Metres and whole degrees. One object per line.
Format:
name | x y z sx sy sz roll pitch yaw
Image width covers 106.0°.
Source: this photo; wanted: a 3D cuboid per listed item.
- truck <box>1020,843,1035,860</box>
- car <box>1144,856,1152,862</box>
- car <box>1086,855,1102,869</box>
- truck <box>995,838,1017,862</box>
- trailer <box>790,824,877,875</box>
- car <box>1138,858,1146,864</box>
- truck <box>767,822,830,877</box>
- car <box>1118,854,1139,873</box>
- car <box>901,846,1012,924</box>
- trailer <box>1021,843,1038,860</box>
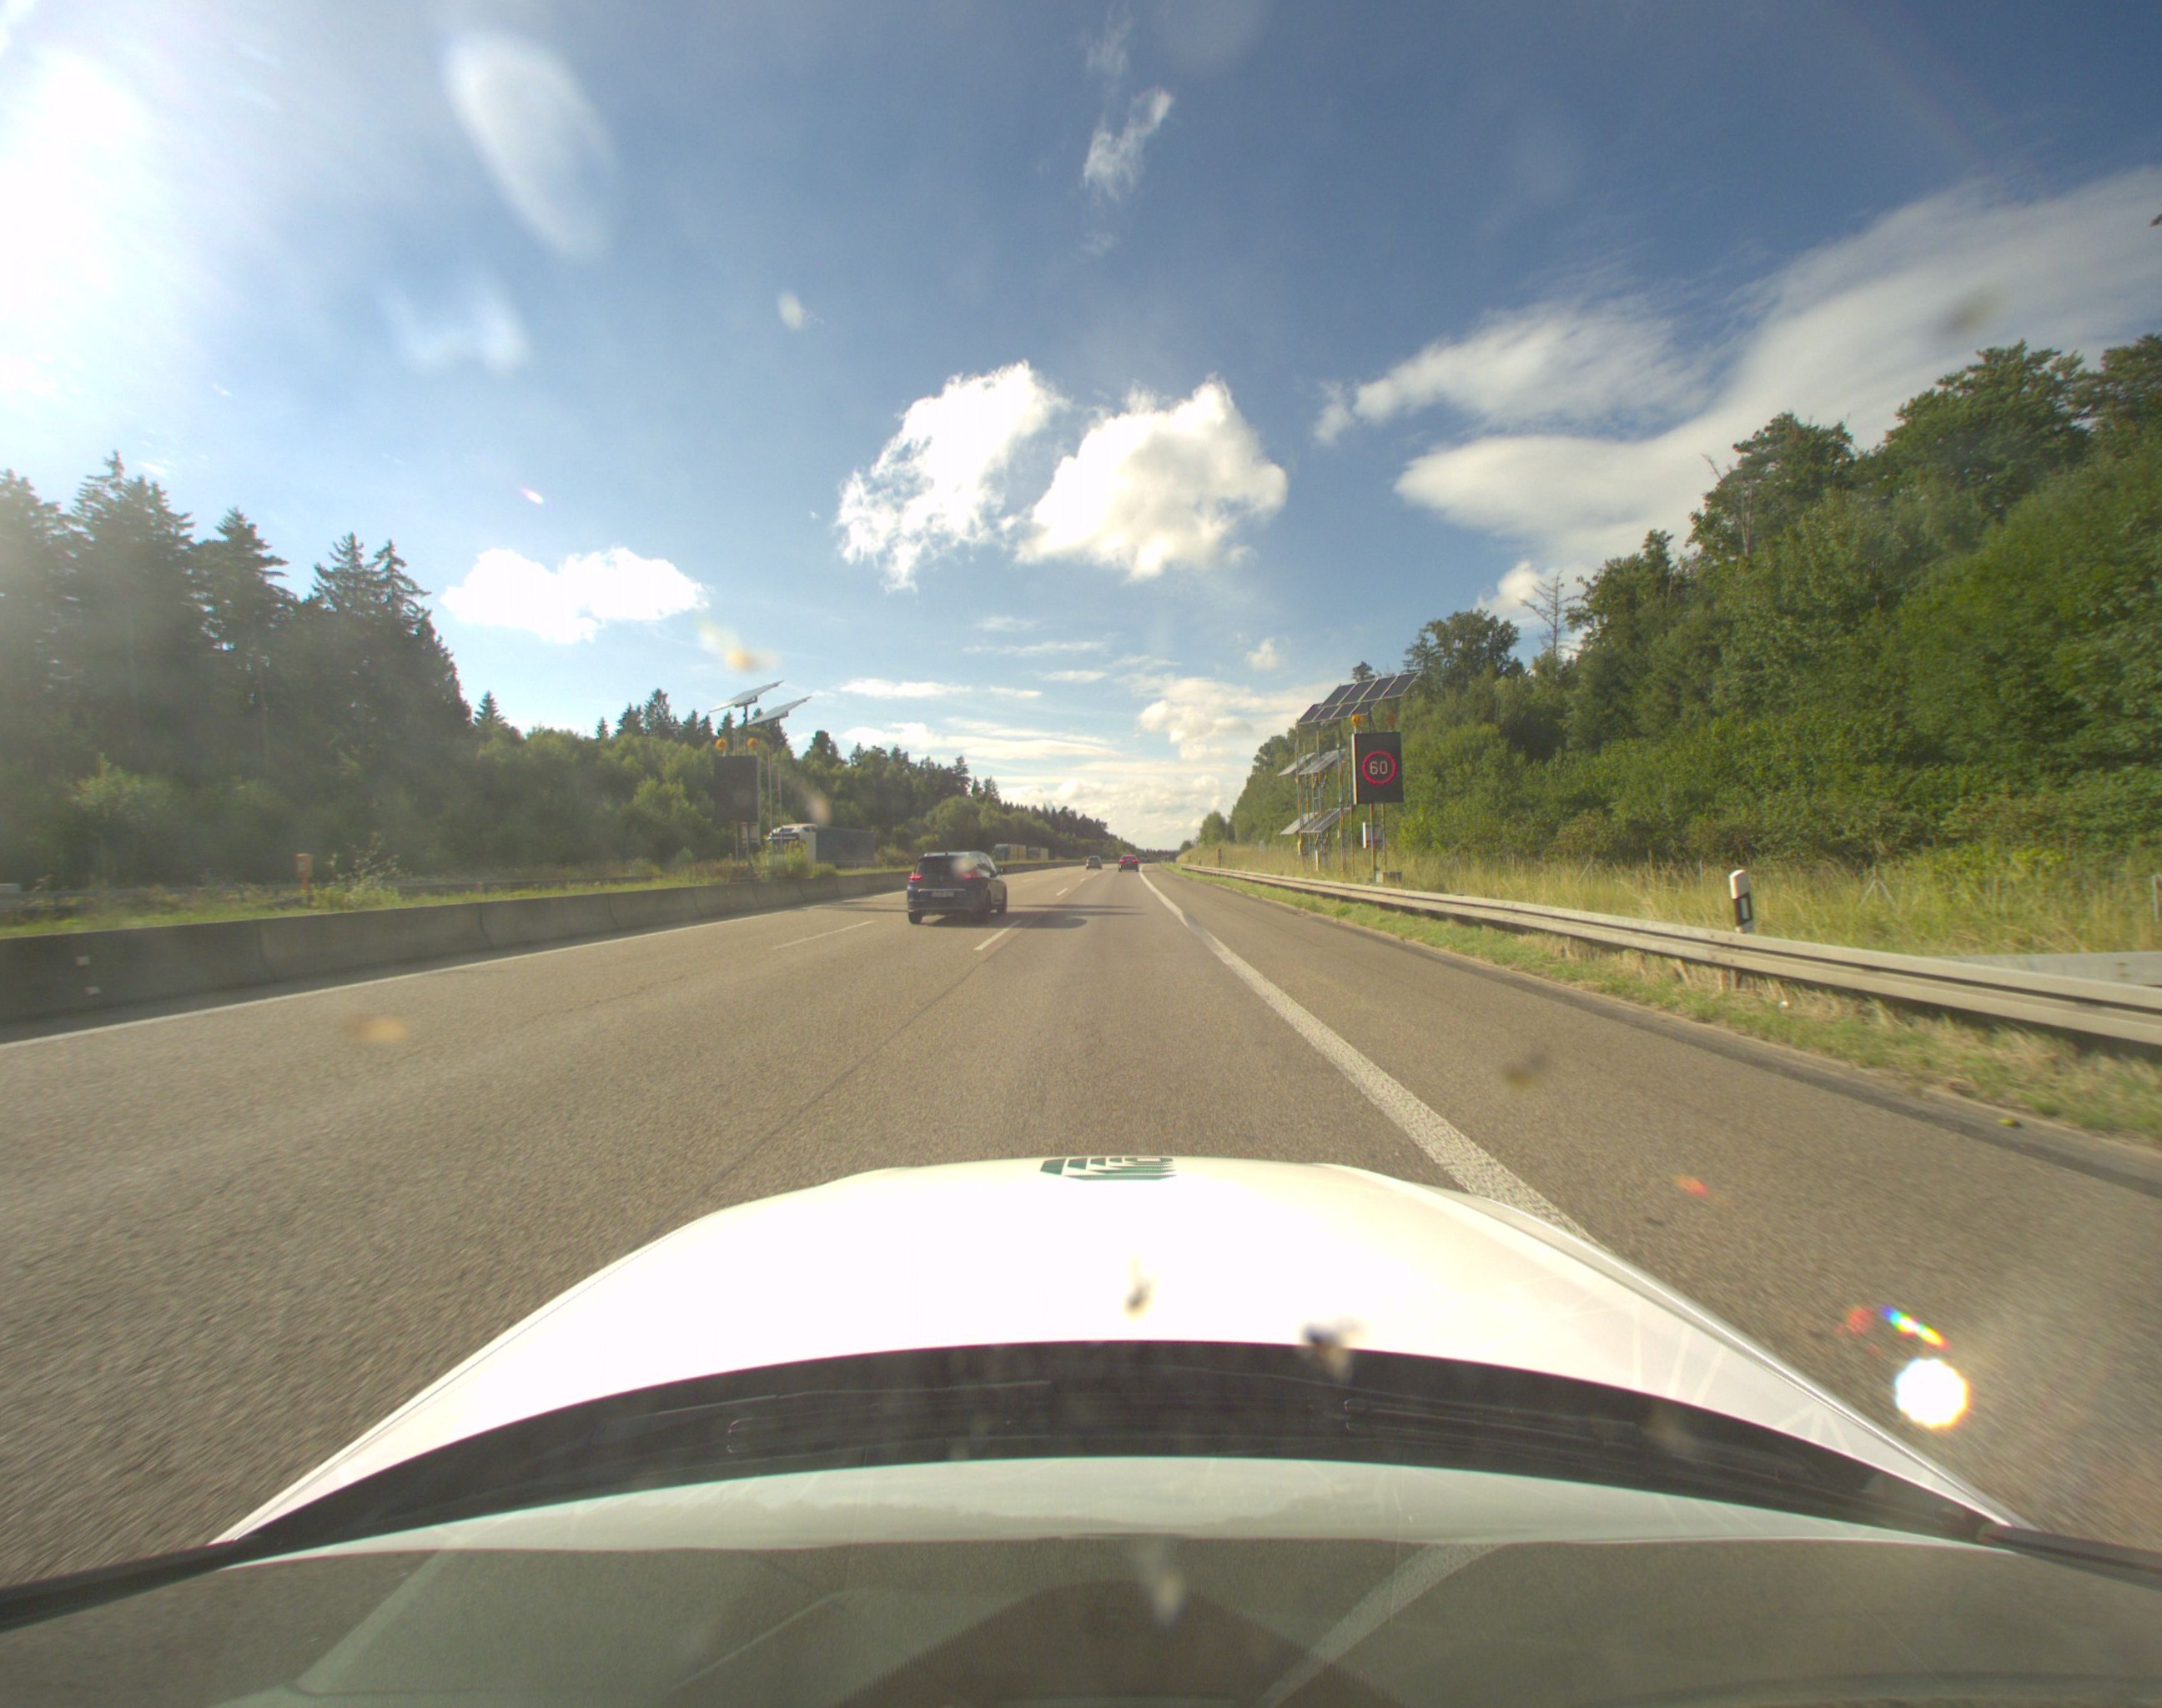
truck | -11.728 -0.514 179.179 2.682 3.749 5.174 0 0 3
car | 18.065 1.342 219.807 1.805 1.706 4.002 -1 0 2
car | 1.491 0.924 96.428 1.867 1.497 3.880 -1 1 0
truck | -13.309 -0.678 144.649 2.636 4.086 6.425 -1 0 5
trailer | -19.801 -0.307 66.394 2.269 3.728 13.287 -1 0 4
car | 17.834 2.014 238.167 1.863 1.497 3.888 0 1 7
truck | -20.273 -0.307 58.768 2.269 3.729 5.537 -1 0 3
car | 4.624 0.894 79.040 1.865 1.675 3.895 0 1 4
car | -2.980 0.696 20.520 1.986 1.707 4.530 -1 0 1
trailer | -11.488 -0.518 183.856 2.668 3.718 10.013 0 0 3
